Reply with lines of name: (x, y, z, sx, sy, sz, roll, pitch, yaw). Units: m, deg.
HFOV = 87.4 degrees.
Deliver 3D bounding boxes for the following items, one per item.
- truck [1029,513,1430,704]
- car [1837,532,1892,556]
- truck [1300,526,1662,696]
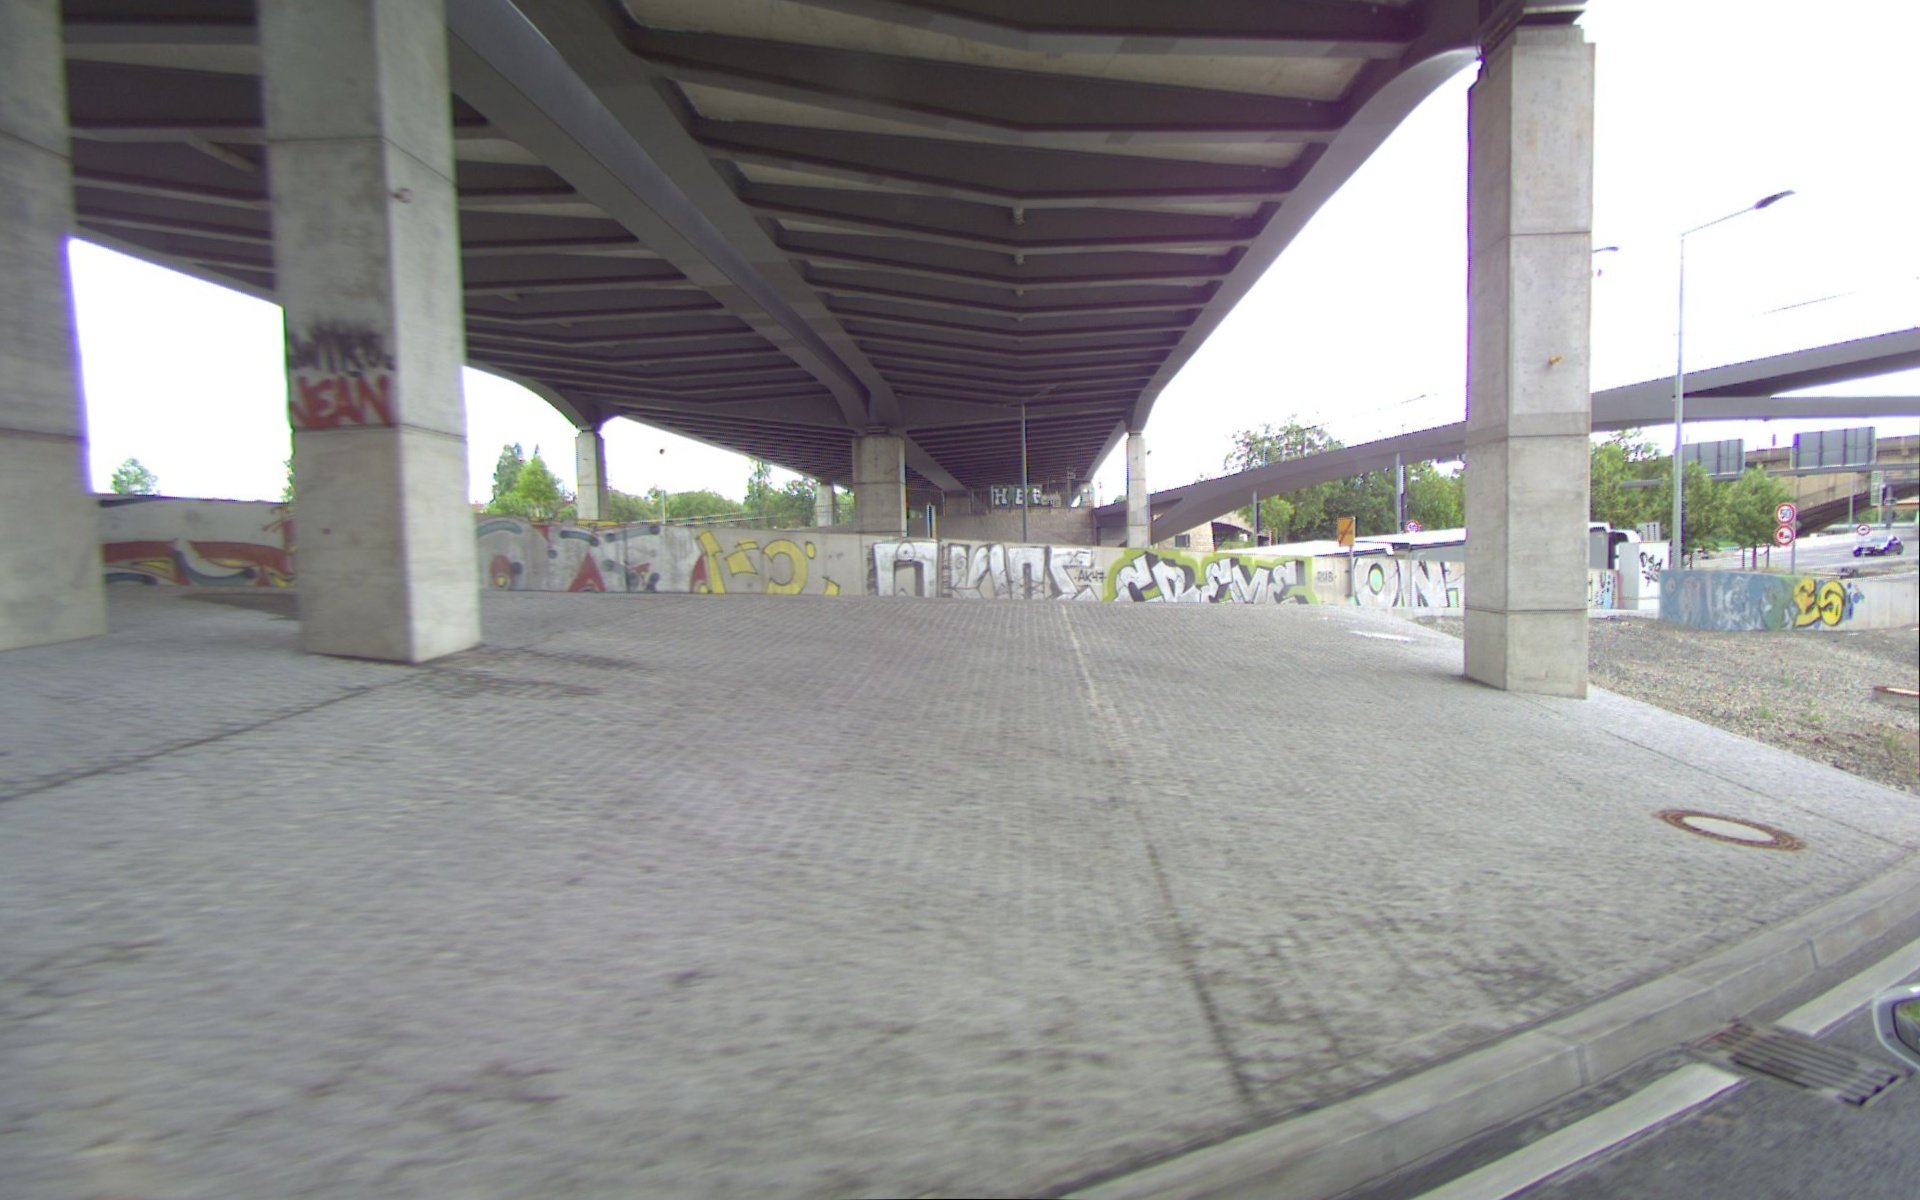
truck: (6.828, 0.116, 24.864, 10.062, 4.071, 2.908, 0, 3, -26)
car: (65.419, -4.035, 72.648, 3.948, 1.646, 1.700, -1, 2, -27)
truck: (15.029, 0.199, 28.648, 11.088, 4.233, 2.978, 0, 3, -26)
